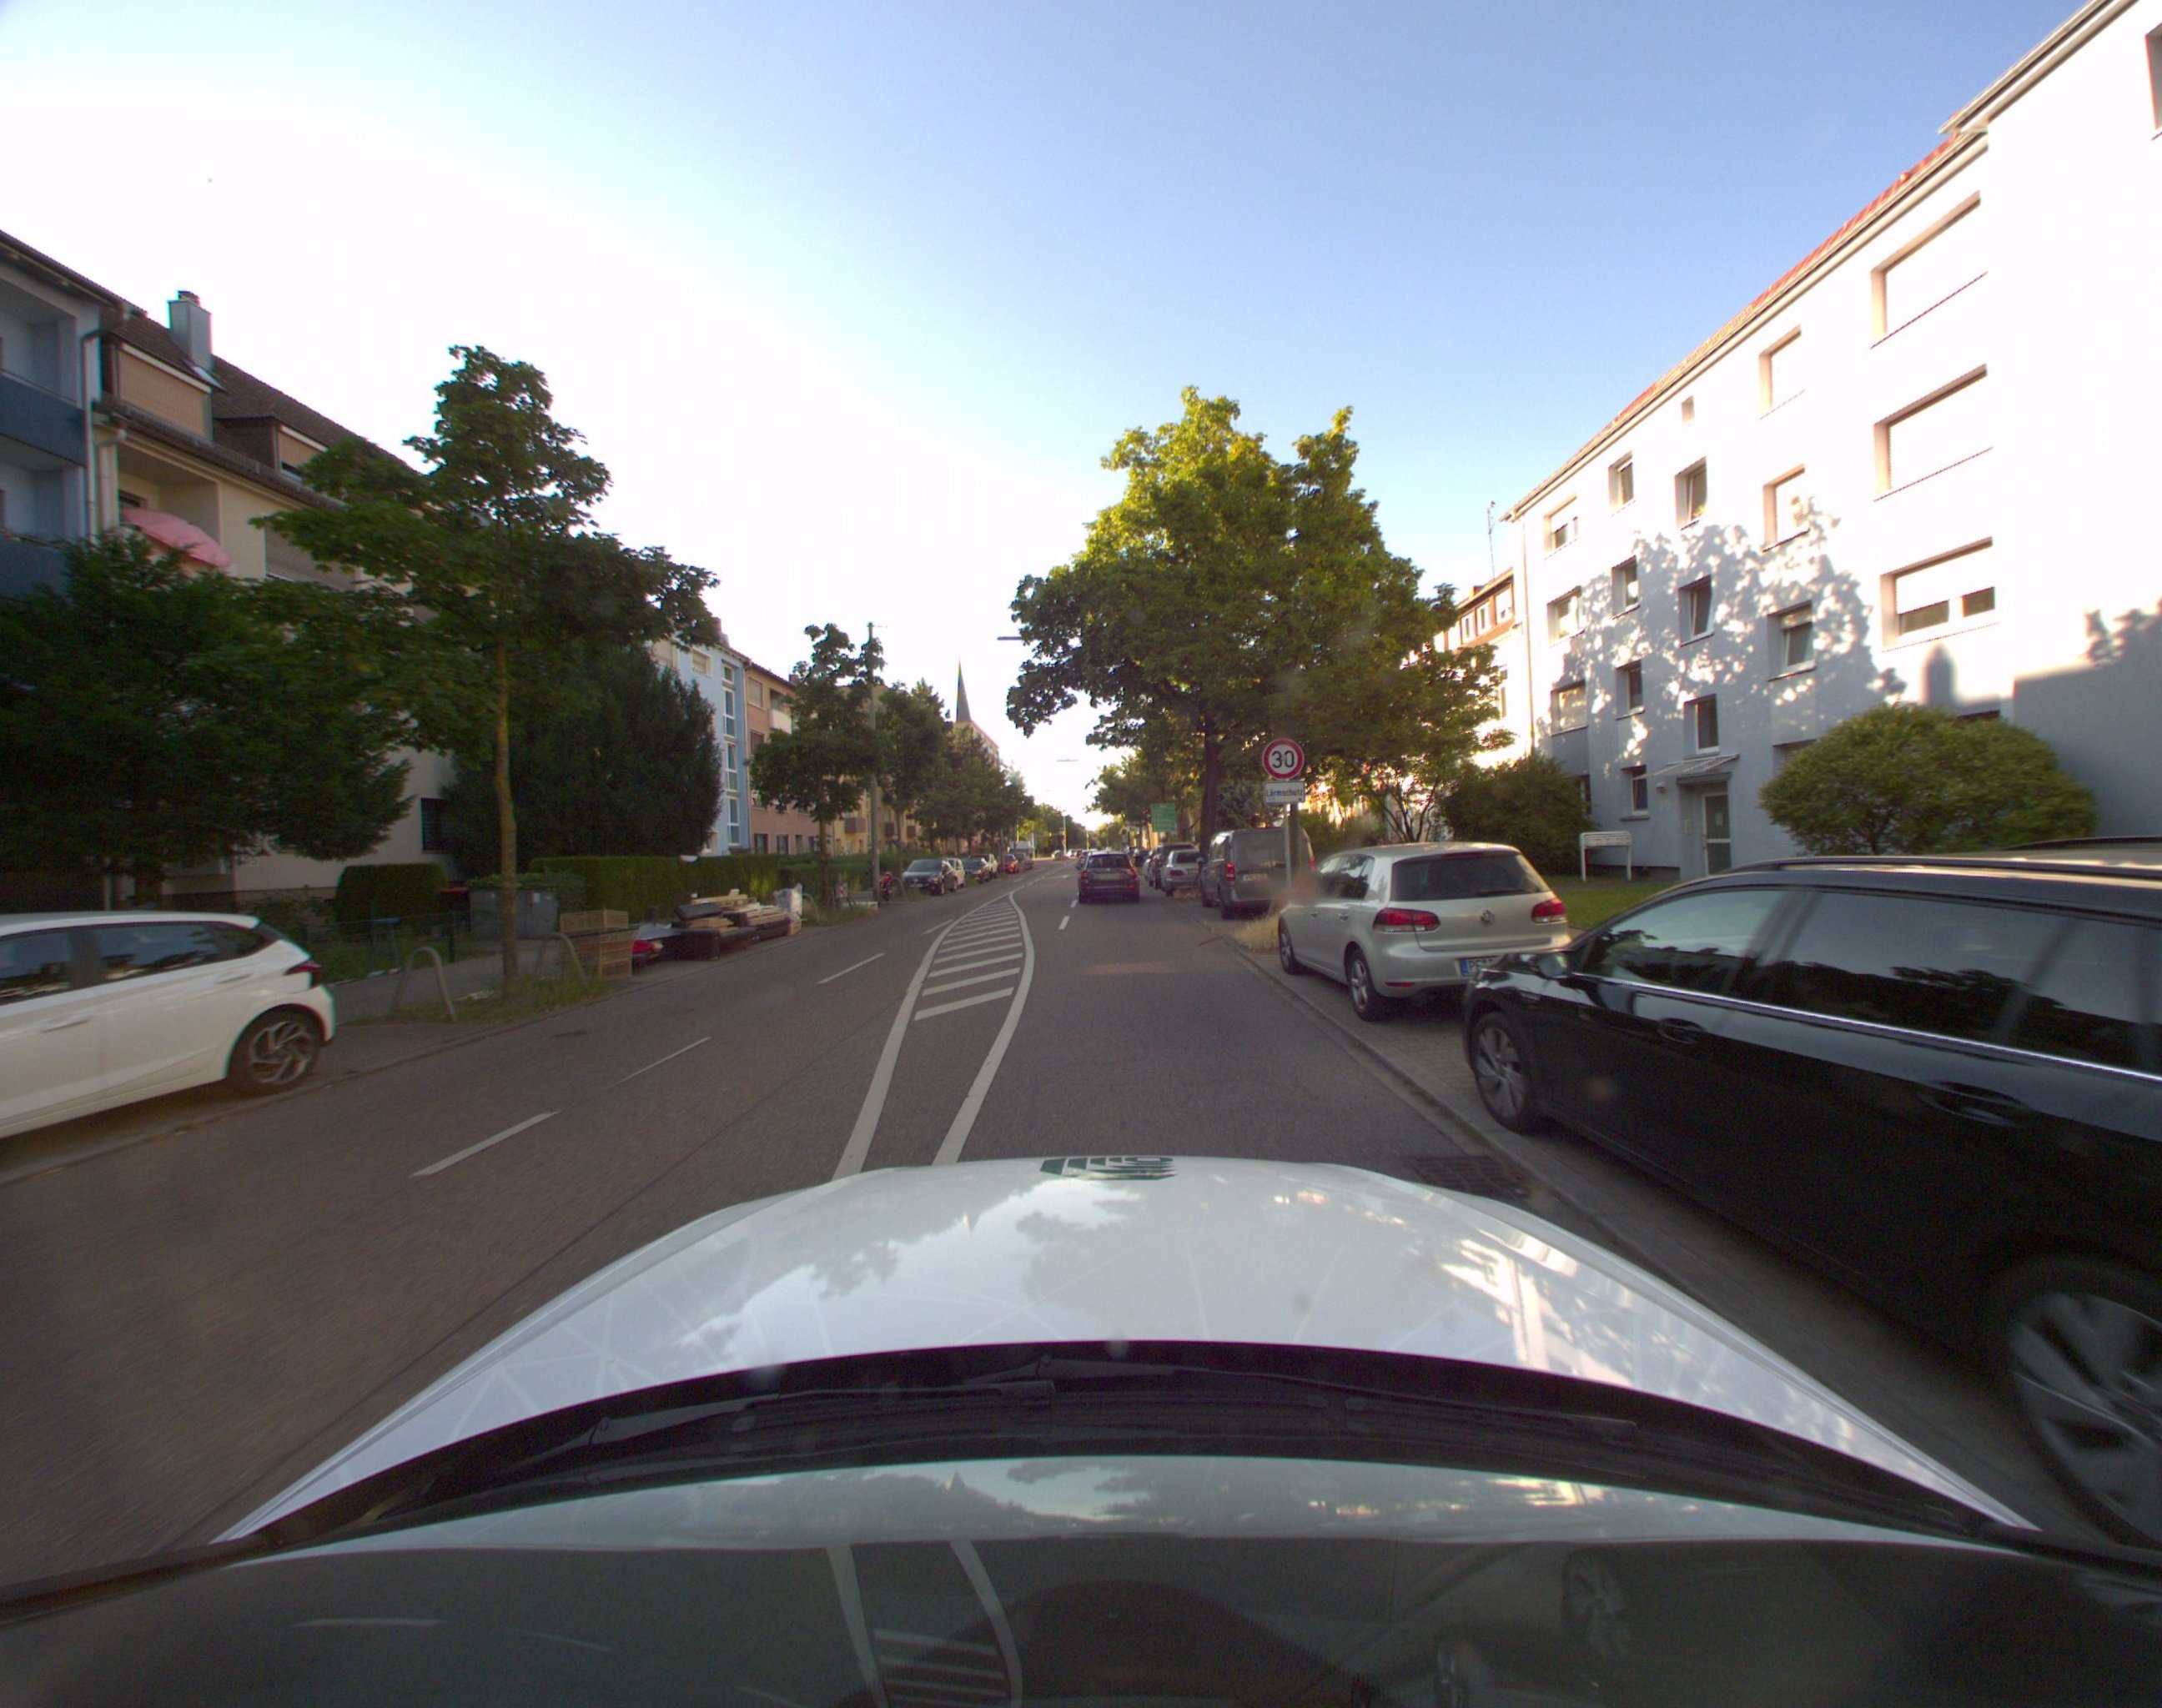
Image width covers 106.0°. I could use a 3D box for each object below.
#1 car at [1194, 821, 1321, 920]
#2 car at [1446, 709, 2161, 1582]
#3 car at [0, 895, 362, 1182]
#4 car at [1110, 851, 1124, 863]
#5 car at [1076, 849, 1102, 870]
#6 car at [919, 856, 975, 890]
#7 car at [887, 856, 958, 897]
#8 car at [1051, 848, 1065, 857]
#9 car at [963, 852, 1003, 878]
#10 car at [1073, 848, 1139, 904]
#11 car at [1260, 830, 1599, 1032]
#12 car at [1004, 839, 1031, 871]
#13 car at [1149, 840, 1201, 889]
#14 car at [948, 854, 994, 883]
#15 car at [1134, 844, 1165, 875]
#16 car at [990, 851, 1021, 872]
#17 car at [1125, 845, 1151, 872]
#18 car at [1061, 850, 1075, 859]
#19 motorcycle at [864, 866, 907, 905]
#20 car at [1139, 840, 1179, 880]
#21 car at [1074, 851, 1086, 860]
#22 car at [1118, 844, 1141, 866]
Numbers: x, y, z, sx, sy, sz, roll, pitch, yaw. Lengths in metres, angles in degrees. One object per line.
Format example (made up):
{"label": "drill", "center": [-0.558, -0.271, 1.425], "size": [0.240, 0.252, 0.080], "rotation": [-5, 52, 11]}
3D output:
{"label": "car", "center": [3.830, 0.297, 18.719], "size": [1.908, 1.860, 5.637], "rotation": [-2, 0, 3]}
{"label": "car", "center": [3.023, 0.540, 2.875], "size": [1.747, 1.686, 4.256], "rotation": [-1, 0, 3]}
{"label": "car", "center": [-7.013, 1.124, 4.844], "size": [1.773, 1.494, 3.975], "rotation": [-1, 0, 3]}
{"label": "car", "center": [5.379, 0.410, 121.706], "size": [1.641, 1.599, 3.645], "rotation": [-3, 0, -4]}
{"label": "car", "center": [0.598, 0.441, 61.152], "size": [1.885, 1.506, 3.790], "rotation": [1, -1, 1]}
{"label": "car", "center": [-6.360, 0.856, 39.077], "size": [1.773, 1.480, 3.975], "rotation": [-1, 0, 3]}
{"label": "car", "center": [-6.282, 0.838, 32.712], "size": [1.773, 1.480, 4.037], "rotation": [-1, 0, 3]}
{"label": "car", "center": [-5.055, -0.323, 178.660], "size": [1.998, 1.750, 3.977], "rotation": [-3, 0, -17]}
{"label": "car", "center": [-6.115, 0.654, 51.216], "size": [1.773, 1.480, 3.975], "rotation": [-1, 0, 3]}
{"label": "car", "center": [0.781, 0.585, 24.089], "size": [1.747, 1.492, 4.003], "rotation": [-1, 0, 3]}
{"label": "car", "center": [3.180, 0.601, 8.434], "size": [1.748, 1.557, 4.104], "rotation": [-1, 0, 0]}
{"label": "car", "center": [-5.739, 0.055, 74.254], "size": [1.984, 2.781, 5.504], "rotation": [-1, 0, 1]}
{"label": "car", "center": [3.555, 0.358, 31.378], "size": [1.747, 1.715, 4.003], "rotation": [-1, 0, 3]}
{"label": "car", "center": [-6.104, 0.788, 45.516], "size": [1.773, 1.480, 3.975], "rotation": [-1, 0, 3]}
{"label": "car", "center": [4.230, 0.302, 50.692], "size": [1.747, 1.806, 4.003], "rotation": [-1, 0, 3]}
{"label": "car", "center": [-5.689, 0.555, 61.686], "size": [1.773, 1.480, 3.975], "rotation": [-1, 0, 3]}
{"label": "car", "center": [4.312, 0.321, 62.104], "size": [1.747, 1.805, 4.003], "rotation": [-5, 0, 3]}
{"label": "car", "center": [-2.730, 0.150, 166.346], "size": [1.995, 1.750, 3.983], "rotation": [-3, 0, -12]}
{"label": "motorcycle", "center": [-6.460, 1.021, 27.035], "size": [0.736, 1.204, 2.144], "rotation": [-1, 0, 4]}
{"label": "car", "center": [3.737, 0.271, 39.392], "size": [1.747, 1.806, 4.003], "rotation": [-1, 0, 3]}
{"label": "car", "center": [-0.181, 0.282, 157.484], "size": [1.990, 1.750, 3.994], "rotation": [-3, 0, -4]}
{"label": "car", "center": [4.025, 0.061, 67.636], "size": [1.748, 1.806, 4.002], "rotation": [-1, 0, 2]}
